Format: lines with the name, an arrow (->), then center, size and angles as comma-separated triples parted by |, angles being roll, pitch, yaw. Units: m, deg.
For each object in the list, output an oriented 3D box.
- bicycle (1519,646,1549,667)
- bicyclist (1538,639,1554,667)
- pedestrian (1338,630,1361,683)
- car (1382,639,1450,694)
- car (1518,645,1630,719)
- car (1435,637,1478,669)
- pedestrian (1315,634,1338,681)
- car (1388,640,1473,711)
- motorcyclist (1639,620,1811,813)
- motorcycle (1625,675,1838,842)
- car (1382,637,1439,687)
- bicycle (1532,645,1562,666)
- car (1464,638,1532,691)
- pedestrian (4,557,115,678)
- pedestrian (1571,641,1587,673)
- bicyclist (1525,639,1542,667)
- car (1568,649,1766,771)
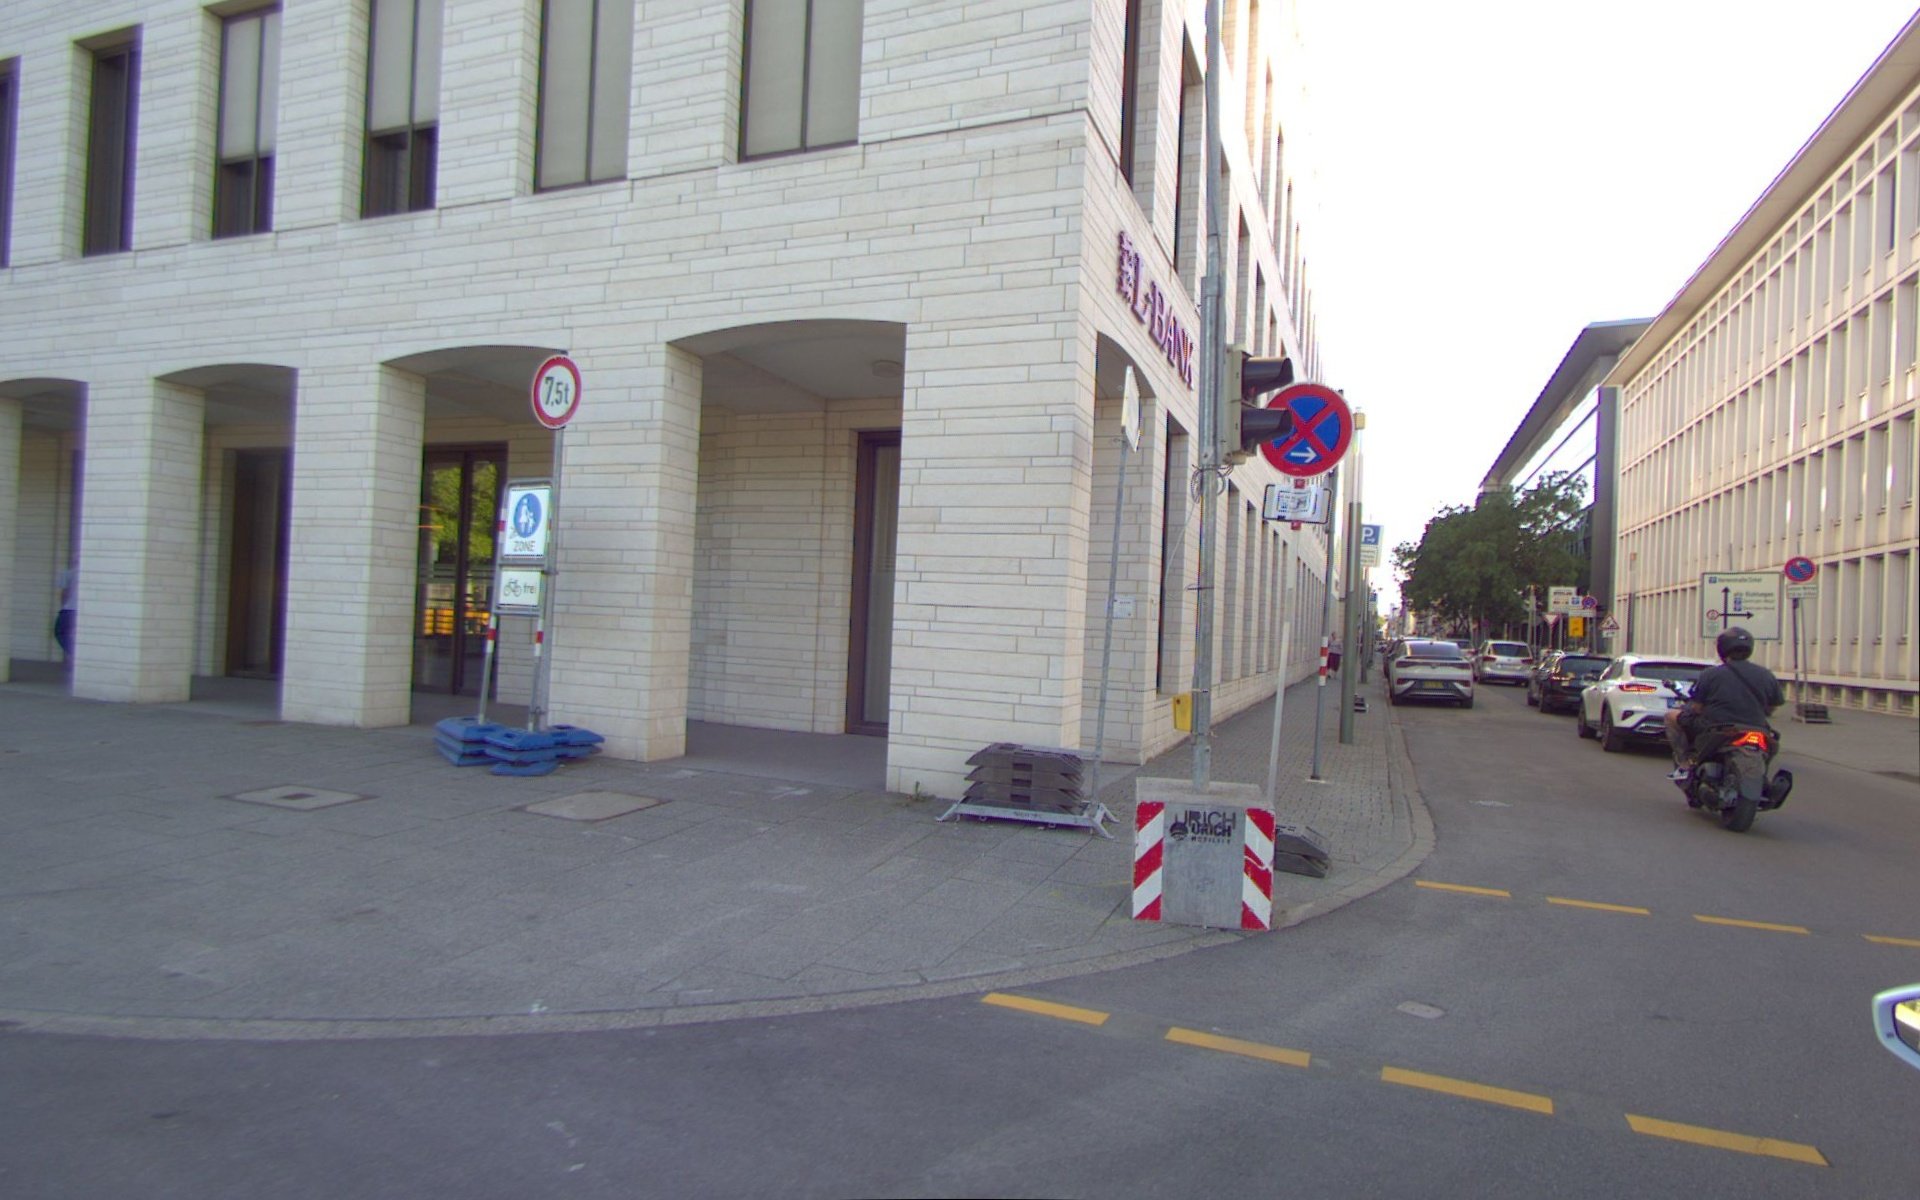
bicycle -> 35.951, 3.533, 62.880 | 1.547, 1.266, 0.549 | 0, -2, 44
bicyclist -> 37.154, 3.364, 63.662 | 0.739, 1.729, 0.733 | 0, -2, 44
pedestrian -> 13.639, 1.952, 35.135 | 0.693, 1.810, 0.727 | 1, -1, 23
car -> 14.010, 2.009, 30.996 | 1.781, 1.547, 3.514 | 0, -2, 23
car -> 14.756, 1.907, 24.353 | 1.746, 1.570, 4.105 | 1, -2, 23
car -> 27.840, 2.965, 56.418 | 1.868, 1.617, 3.999 | 2, -2, 23
pedestrian -> 13.166, 2.039, 36.047 | 0.693, 1.635, 0.860 | 1, -1, 23
car -> 11.992, 1.862, 25.818 | 1.781, 1.627, 4.266 | 0, -2, 23
motorcyclist -> 6.889, 1.001, 9.126 | 0.938, 1.580, 1.239 | 1, -2, 23
motorcycle -> 6.931, 1.337, 9.209 | 0.891, 1.199, 2.578 | 1, -2, 22
car -> 16.147, 2.200, 36.146 | 1.781, 1.667, 3.514 | 0, -2, 23
bicycle -> 37.192, 3.484, 63.607 | 1.547, 1.266, 0.549 | 0, -2, 44
car -> 20.828, 2.441, 39.028 | 1.894, 1.881, 3.999 | 1, -2, 23
pedestrian -> -13.283, 0.257, 14.835 | 0.862, 1.707, 0.860 | 2, -1, 21
pedestrian -> 32.420, 2.974, 52.618 | 0.633, 1.622, 0.619 | 1, -1, 25
bicyclist -> 35.933, 3.300, 62.926 | 0.739, 1.729, 0.733 | 0, -2, 44
car -> 10.936, 1.604, 15.842 | 1.830, 1.491, 3.997 | 3, -1, 26
